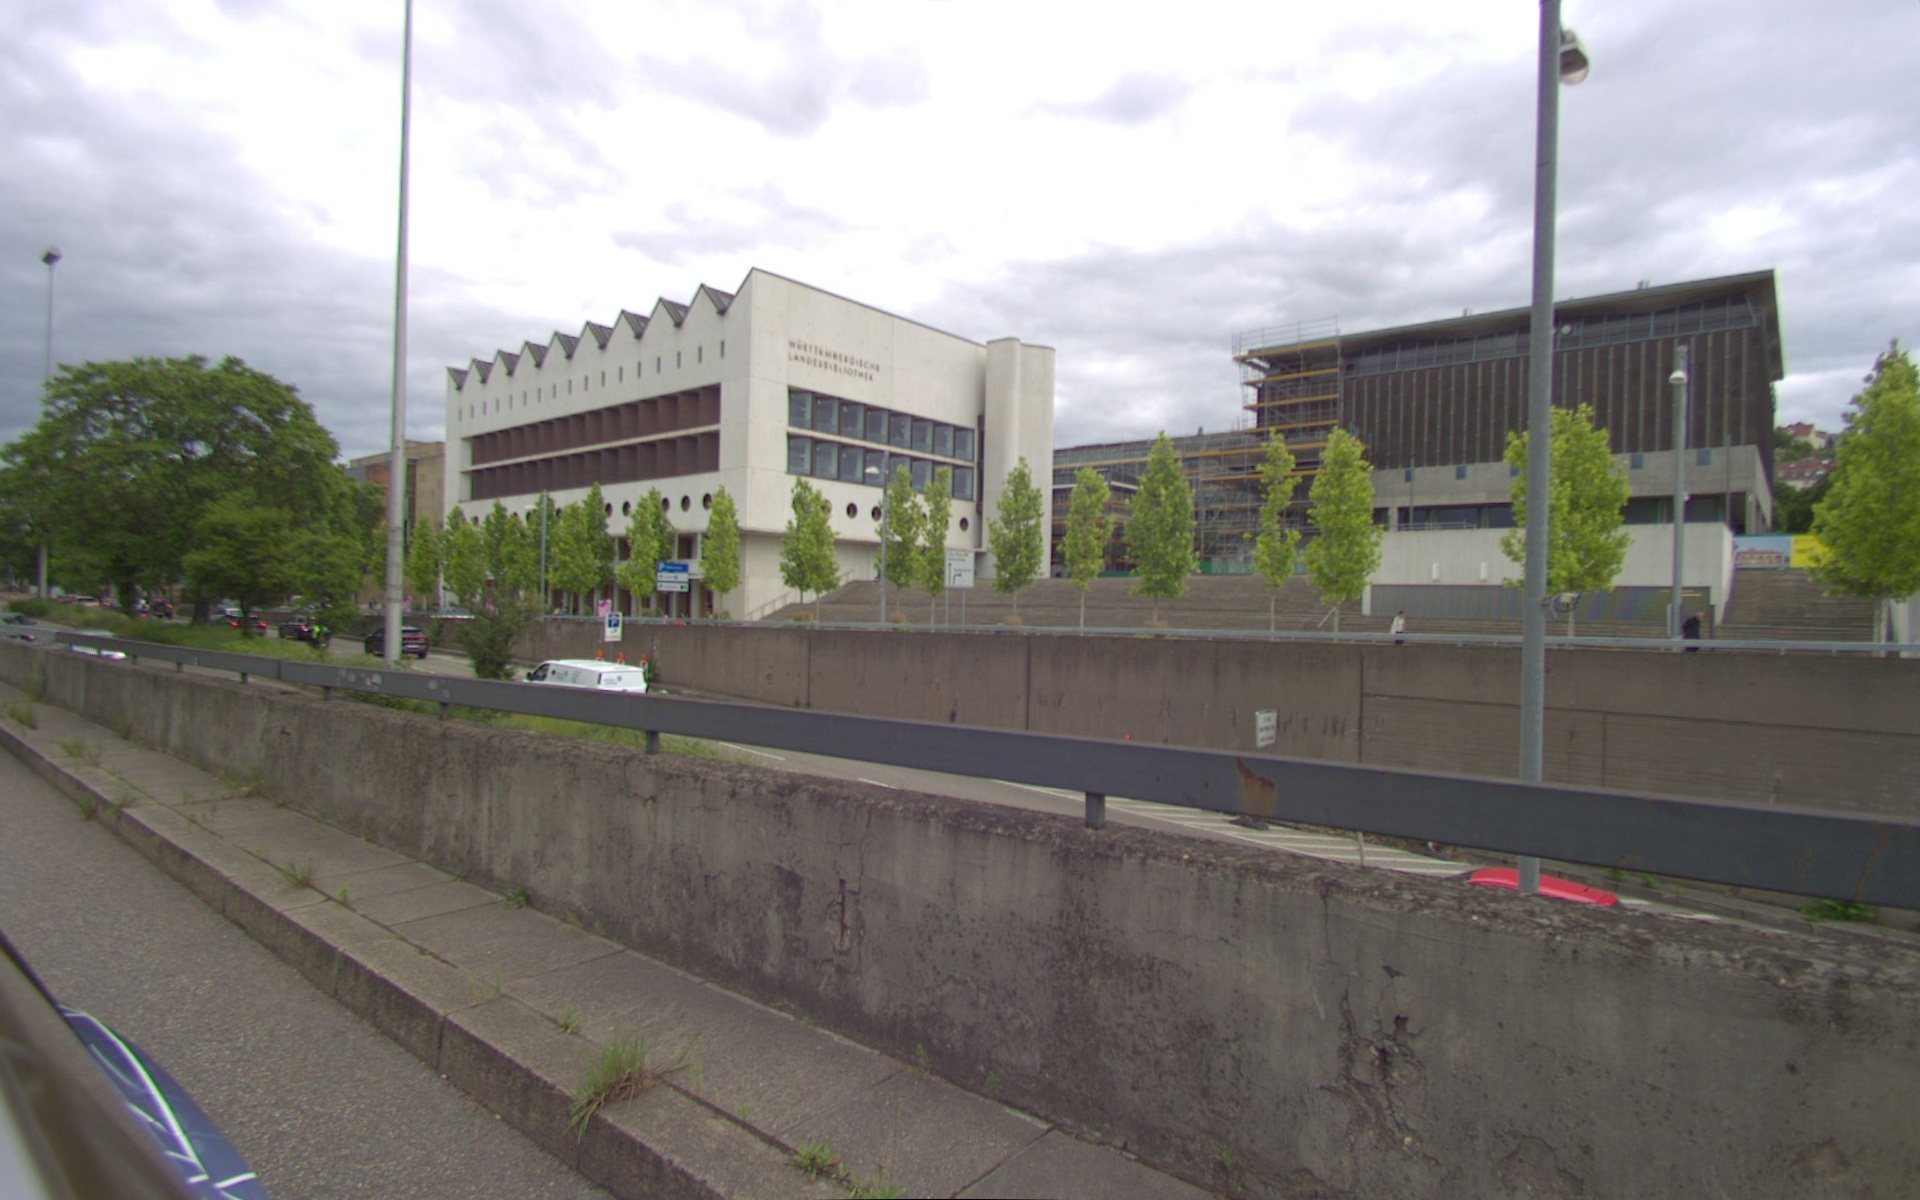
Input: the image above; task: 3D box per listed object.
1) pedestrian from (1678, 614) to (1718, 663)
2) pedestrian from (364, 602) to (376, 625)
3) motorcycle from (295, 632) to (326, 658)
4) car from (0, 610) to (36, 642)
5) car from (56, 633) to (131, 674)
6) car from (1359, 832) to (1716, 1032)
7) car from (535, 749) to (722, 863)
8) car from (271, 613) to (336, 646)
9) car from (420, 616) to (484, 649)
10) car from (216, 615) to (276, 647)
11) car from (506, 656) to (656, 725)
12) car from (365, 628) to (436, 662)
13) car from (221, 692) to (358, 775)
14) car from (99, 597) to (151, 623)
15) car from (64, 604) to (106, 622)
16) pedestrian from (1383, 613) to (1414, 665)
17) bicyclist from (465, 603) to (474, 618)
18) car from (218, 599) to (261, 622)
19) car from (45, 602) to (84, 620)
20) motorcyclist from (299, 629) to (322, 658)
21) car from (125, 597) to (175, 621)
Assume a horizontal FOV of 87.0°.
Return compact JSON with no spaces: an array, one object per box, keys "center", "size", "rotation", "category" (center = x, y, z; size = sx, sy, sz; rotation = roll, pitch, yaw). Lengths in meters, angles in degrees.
[{"center":[25.486,1.321,34.975],"size":[0.728,1.655,0.795],"rotation":[0,-2,-21],"category":"pedestrian"},{"center":[-53.944,1.246,92.525],"size":[1.016,2.029,0.712],"rotation":[1,1,42],"category":"pedestrian"},{"center":[-32.172,2.215,50.122],"size":[2.050,1.106,0.678],"rotation":[3,-2,41],"category":"motorcycle"},{"center":[-44.310,1.165,46.849],"size":[4.089,1.425,1.764],"rotation":[0,0,40],"category":"car"},{"center":[-34.446,2.071,40.196],"size":[4.089,1.425,1.636],"rotation":[0,0,40],"category":"car"},{"center":[7.946,4.424,14.106],"size":[3.999,1.497,1.972],"rotation":[-1,-2,42],"category":"car"},{"center":[-6.485,3.879,19.578],"size":[4.089,1.425,1.539],"rotation":[0,0,40],"category":"car"},{"center":[-38.791,1.716,59.730],"size":[4.386,1.624,1.852],"rotation":[4,0,38],"category":"car"},{"center":[-30.601,1.949,60.949],"size":[3.998,1.776,1.973],"rotation":[0,-3,41],"category":"car"},{"center":[-40.751,1.762,57.734],"size":[4.144,1.500,1.757],"rotation":[3,0,40],"category":"car"},{"center":[-12.062,2.839,32.018],"size":[5.246,1.651,1.973],"rotation":[2,-5,40],"category":"car"},{"center":[-28.084,2.238,50.750],"size":[4.003,1.338,1.787],"rotation":[4,0,40],"category":"car"},{"center":[-15.471,2.987,23.280],"size":[4.089,1.425,1.539],"rotation":[0,0,40],"category":"car"},{"center":[-58.803,0.707,71.245],"size":[4.515,1.687,1.973],"rotation":[0,-4,41],"category":"car"},{"center":[-72.003,1.058,83.232],"size":[3.998,1.409,1.973],"rotation":[0,-4,41],"category":"car"},{"center":[17.282,1.543,39.915],"size":[0.728,2.029,0.795],"rotation":[0,-2,-22],"category":"pedestrian"},{"center":[-39.751,0.823,81.951],"size":[0.643,1.169,0.398],"rotation":[1,1,39],"category":"bicyclist"},{"center":[-60.497,0.900,84.931],"size":[3.998,1.776,1.973],"rotation":[0,-3,41],"category":"car"},{"center":[-79.498,0.976,89.822],"size":[3.998,1.409,1.973],"rotation":[0,-4,41],"category":"car"},{"center":[-32.147,2.164,50.100],"size":[0.718,1.362,0.662],"rotation":[3,-3,41],"category":"motorcyclist"},{"center":[-64.841,0.687,80.982],"size":[4.514,1.657,2.133],"rotation":[2,-2,40],"category":"car"}]
